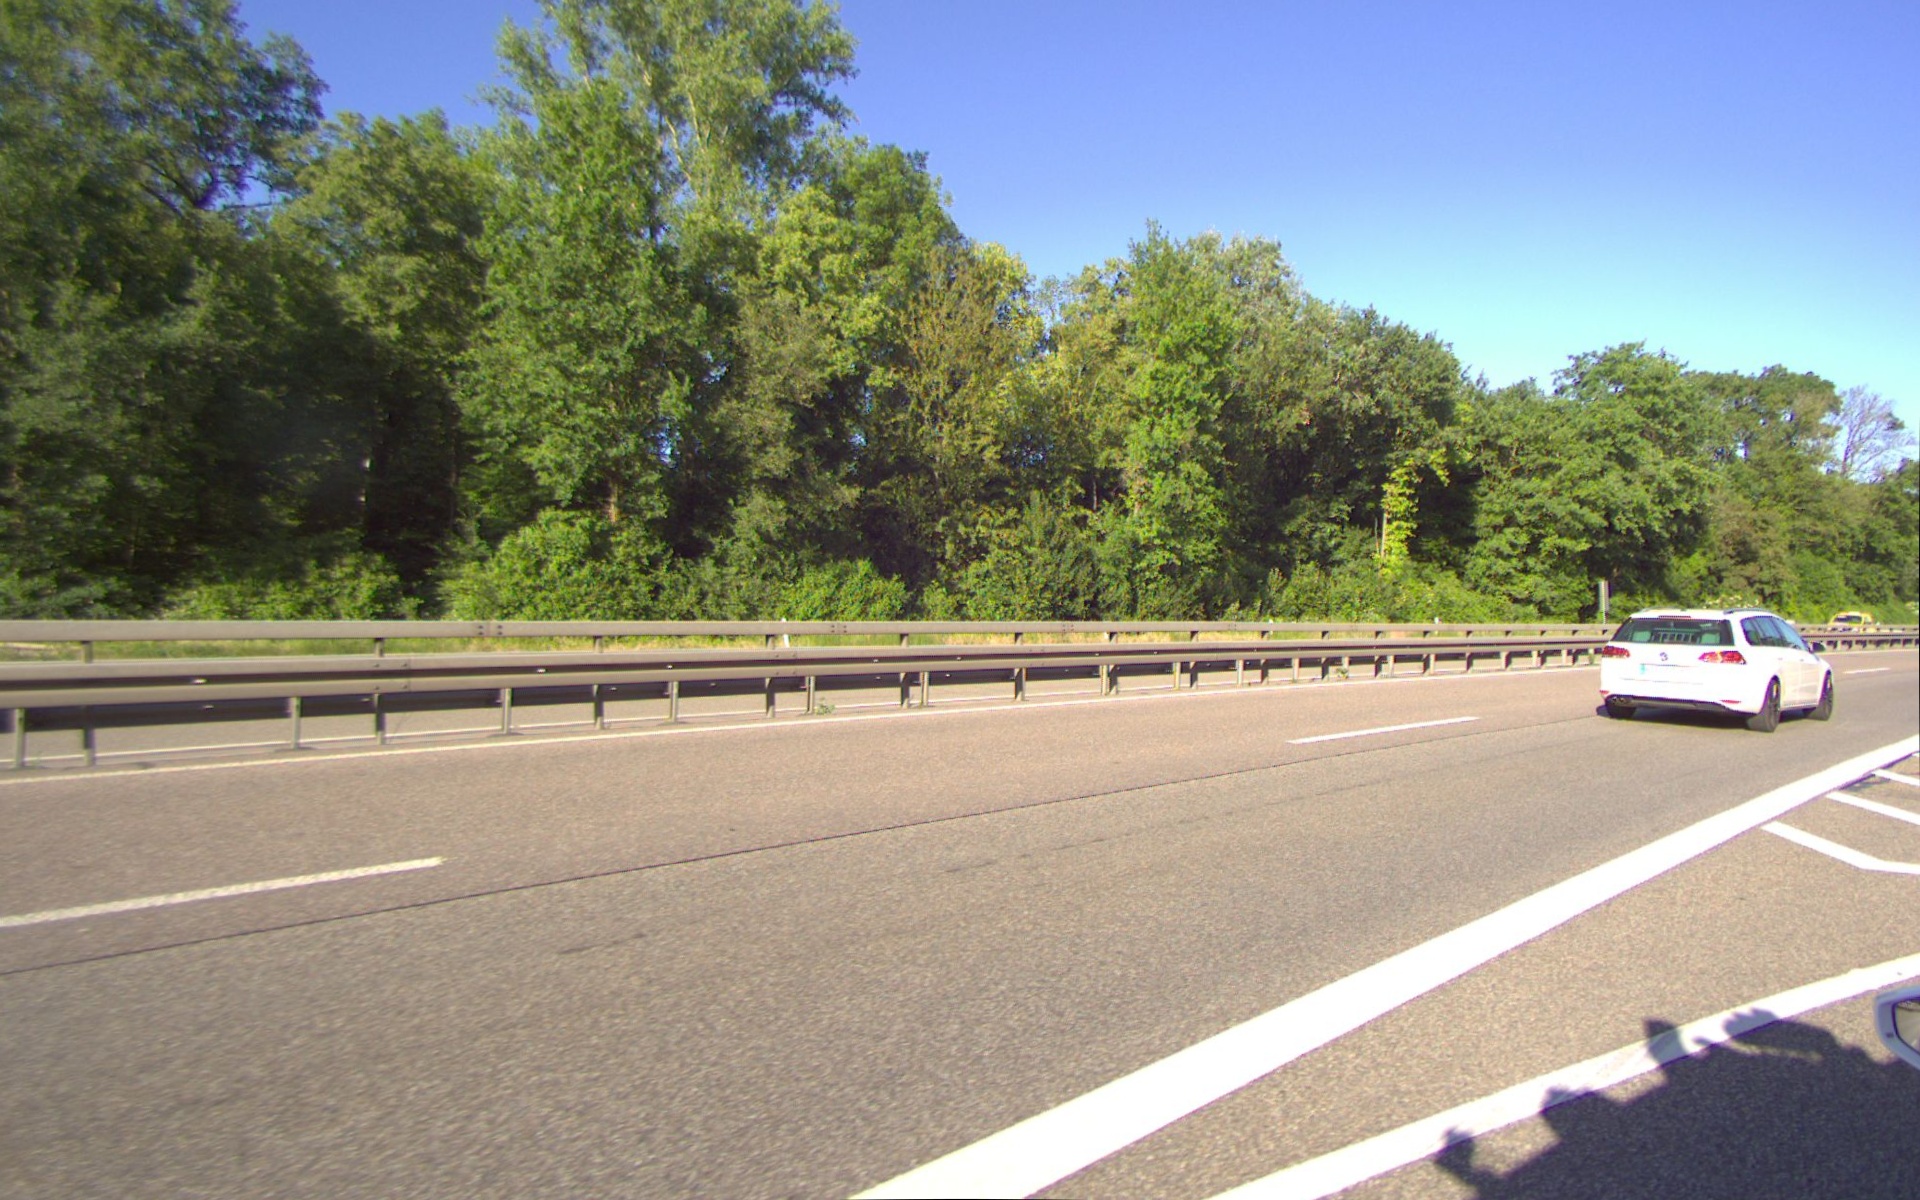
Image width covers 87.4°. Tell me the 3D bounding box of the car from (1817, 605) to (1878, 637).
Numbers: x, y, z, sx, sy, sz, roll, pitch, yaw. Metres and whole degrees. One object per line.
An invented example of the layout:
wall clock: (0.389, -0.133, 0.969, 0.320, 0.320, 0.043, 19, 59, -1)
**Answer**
car: (58.856, 1.384, 66.617, 3.954, 2.040, 1.983, 1, -1, -31)

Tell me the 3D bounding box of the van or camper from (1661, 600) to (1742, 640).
van or camper: (40.027, 1.090, 54.196, 4.768, 2.040, 2.061, 1, -1, -34)

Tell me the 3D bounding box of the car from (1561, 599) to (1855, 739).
car: (10.416, 0.837, 13.794, 5.551, 1.528, 1.914, 2, 1, -39)
